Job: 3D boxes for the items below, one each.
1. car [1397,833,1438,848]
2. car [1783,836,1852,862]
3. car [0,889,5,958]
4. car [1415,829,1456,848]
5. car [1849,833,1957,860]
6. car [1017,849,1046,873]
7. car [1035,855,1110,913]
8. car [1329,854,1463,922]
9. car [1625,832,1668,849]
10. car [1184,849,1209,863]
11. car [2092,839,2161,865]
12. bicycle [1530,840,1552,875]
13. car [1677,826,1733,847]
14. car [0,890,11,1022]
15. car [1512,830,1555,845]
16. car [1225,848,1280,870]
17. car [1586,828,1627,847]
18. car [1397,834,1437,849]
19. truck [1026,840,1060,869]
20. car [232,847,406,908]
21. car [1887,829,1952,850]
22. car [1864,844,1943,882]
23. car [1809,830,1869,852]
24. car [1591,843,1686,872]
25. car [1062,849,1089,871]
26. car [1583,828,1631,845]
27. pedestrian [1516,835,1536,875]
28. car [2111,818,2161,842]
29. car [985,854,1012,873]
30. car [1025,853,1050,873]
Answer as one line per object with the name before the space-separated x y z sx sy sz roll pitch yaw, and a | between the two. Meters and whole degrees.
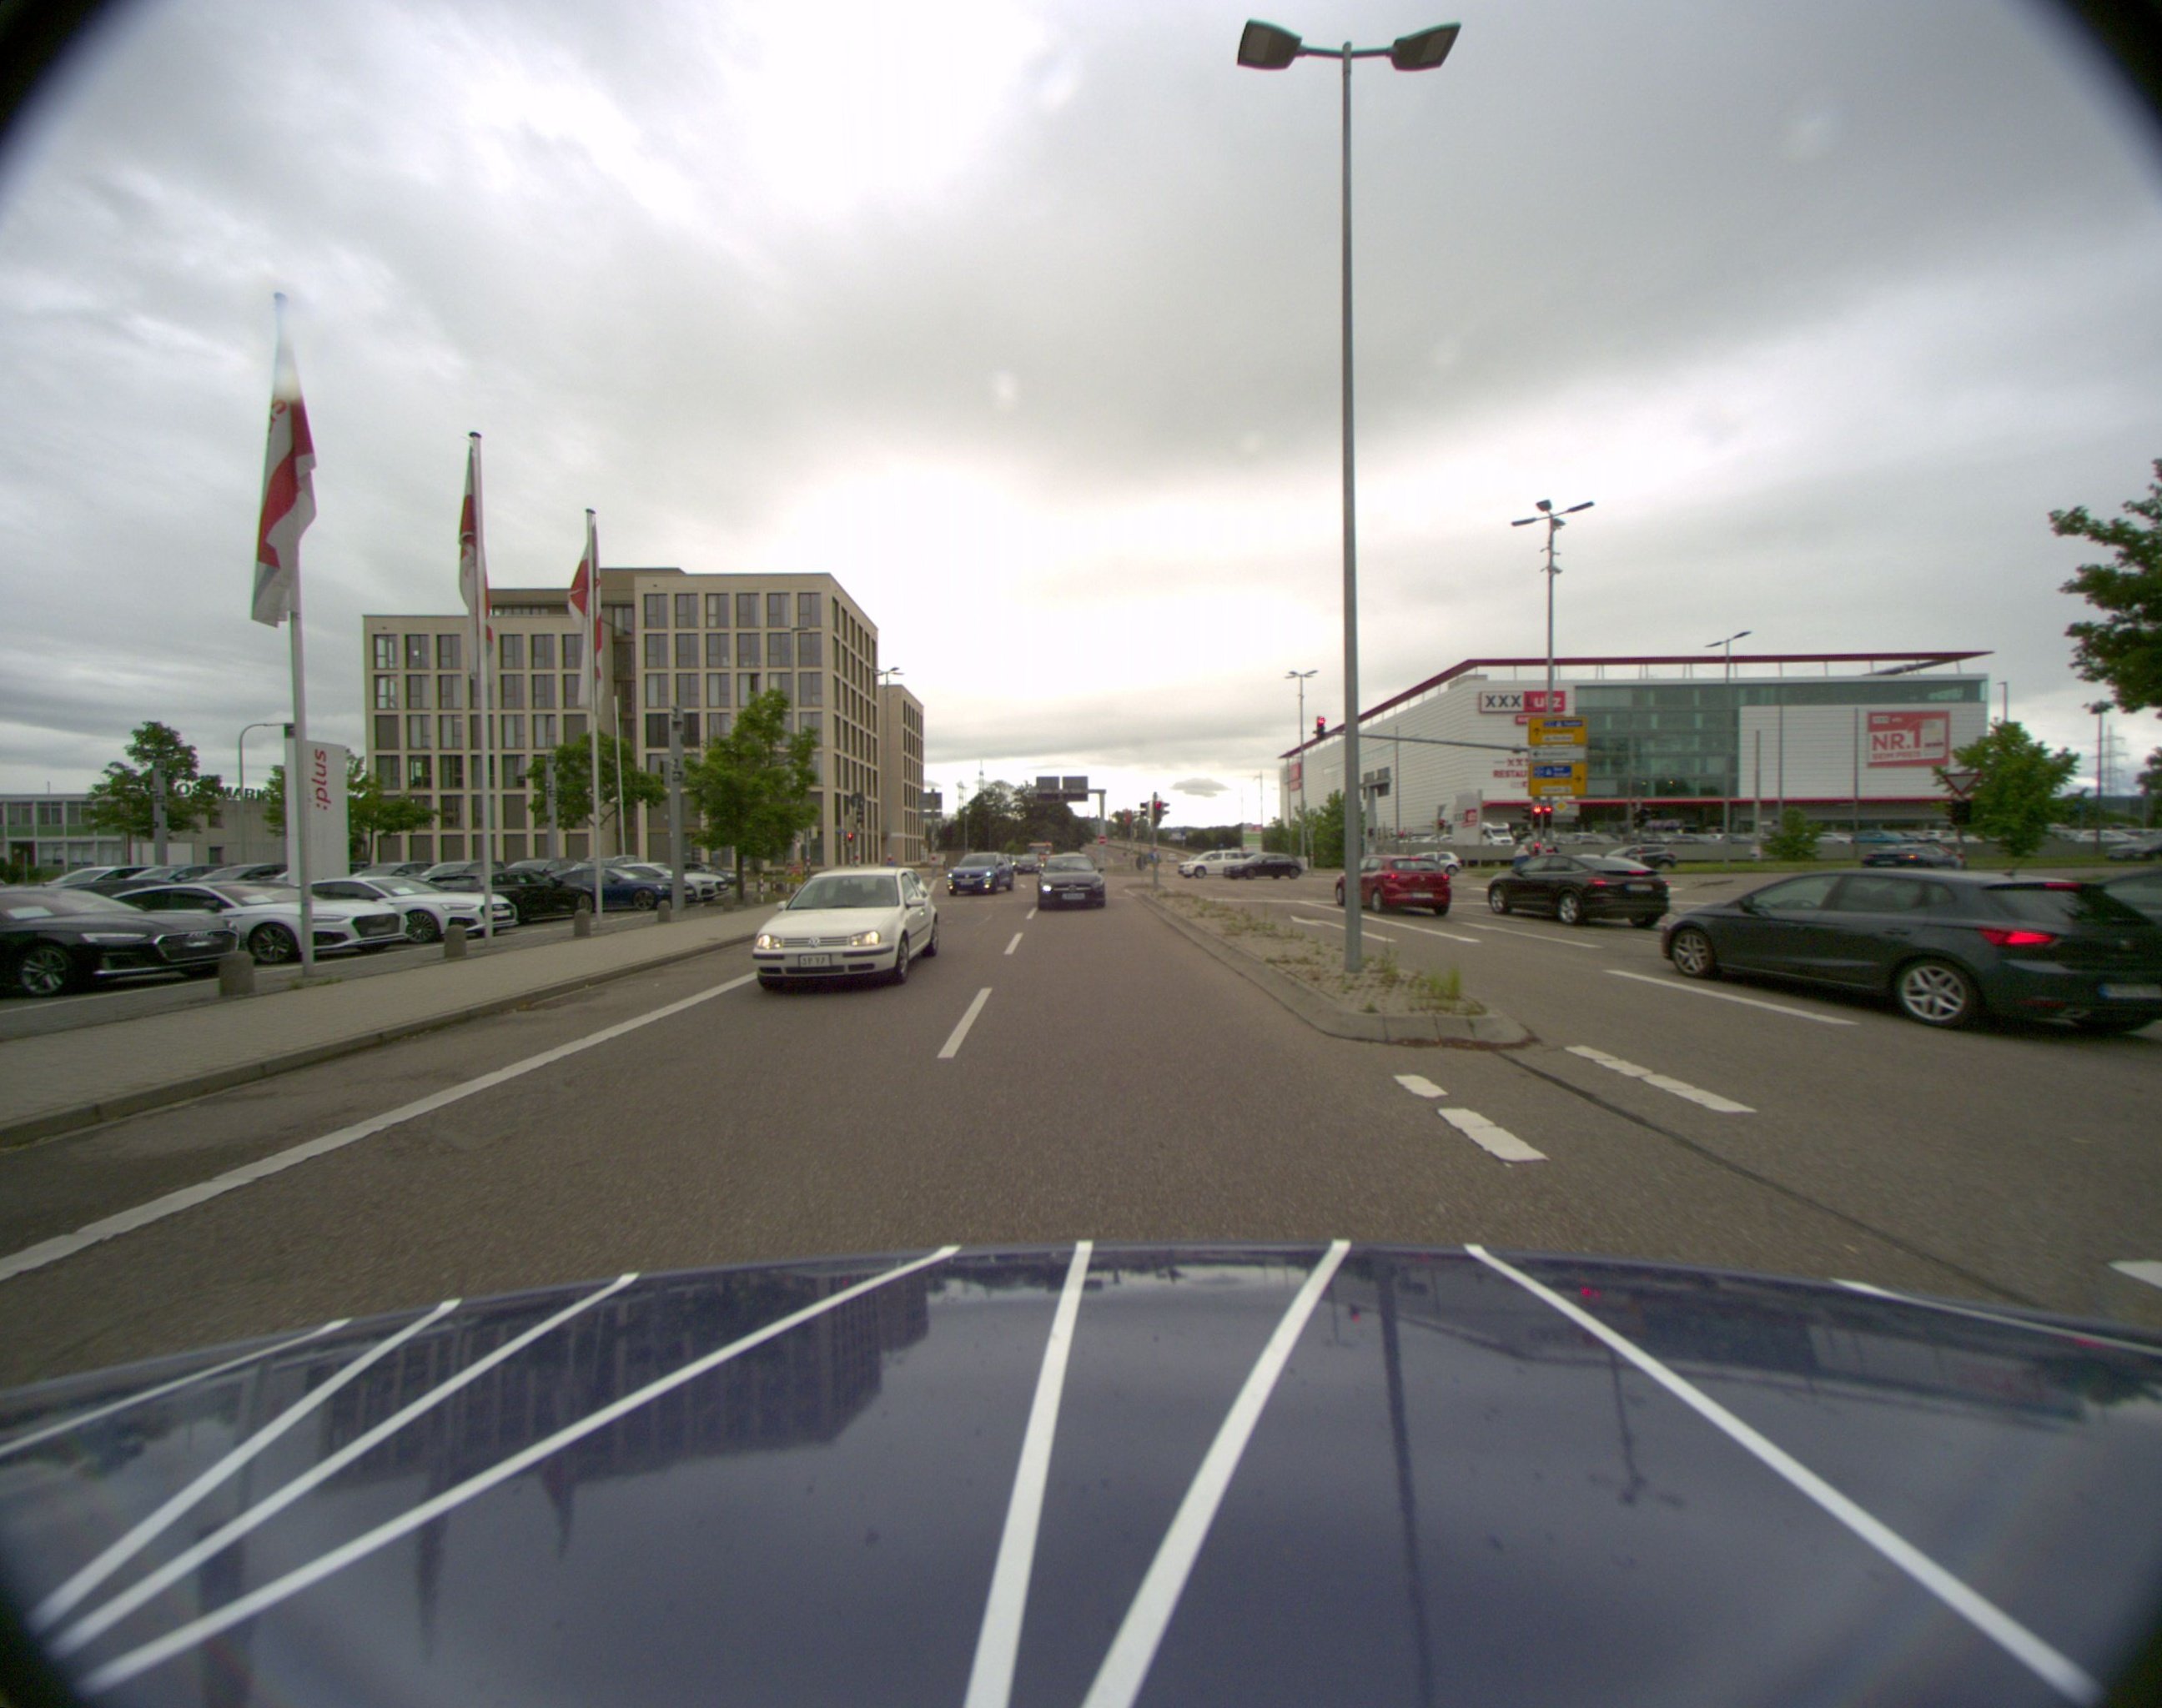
car | 41.933 -1.691 94.705 4.256 1.665 1.778 -2 -1 3
car | 62.721 -0.391 64.807 1.998 2.001 4.001 -2 -1 1
car | -25.140 1.597 15.249 4.260 1.477 1.929 -4 -1 0
car | 42.841 -1.858 91.903 3.996 2.001 2.001 -2 -1 4
car | 48.022 -0.395 44.465 4.215 1.407 1.803 -2 -1 3
car | -3.810 0.558 59.433 1.999 1.758 4.422 -2 -1 -1
car | -0.296 0.797 21.191 1.859 1.426 4.196 0 -1 -2
car | 8.111 0.811 20.011 1.739 1.479 4.077 1 2 -1
car | 66.358 -1.536 89.176 1.998 1.728 4.001 -2 -1 0
car | 12.698 0.258 83.660 1.817 1.402 4.877 0 -1 -2
car | 61.075 -0.144 43.341 4.215 1.407 1.803 -2 -1 3
bicycle | 18.869 0.131 31.196 0.595 1.388 1.937 1 2 26
car | 64.194 -1.791 78.206 3.997 2.001 2.000 -2 -1 1
car | -13.782 1.210 7.278 4.188 1.477 1.908 -4 1 -1
car | 56.210 -2.014 94.435 4.256 1.665 1.778 -2 -1 3
car | 13.668 0.409 60.783 1.803 1.615 4.364 2 -1 -29
car | 61.939 -1.936 89.599 1.998 2.001 4.001 -2 -1 1
car | 43.134 -1.586 97.609 4.256 1.665 1.778 -2 -1 3
truck | -3.704 0.087 75.337 2.819 2.622 6.676 -2 -1 1
car | -29.373 0.831 29.576 1.999 2.002 4.785 -2 2 -3
car | 79.718 -1.350 72.257 3.997 1.783 1.891 -2 -1 1
car | 34.645 0.330 31.969 4.126 1.479 1.697 0 1 -35
car | 76.661 -1.324 76.862 3.997 2.001 2.000 -2 -1 1
car | 32.979 0.226 45.007 4.215 1.564 1.803 -2 -1 3
car | -0.467 0.501 60.039 1.904 1.633 4.068 -2 -1 -2
car | 51.284 -1.653 74.129 1.868 1.428 3.995 -2 -1 0
pedestrian | 18.290 0.036 31.255 0.639 1.617 0.693 1 3 26
car | 96.103 -2.166 68.407 3.997 2.001 2.000 -2 -1 1
car | -6.995 0.849 64.633 1.871 1.481 4.150 -2 -1 -1
car | -3.774 0.825 66.448 1.998 1.591 4.001 -2 -1 0
